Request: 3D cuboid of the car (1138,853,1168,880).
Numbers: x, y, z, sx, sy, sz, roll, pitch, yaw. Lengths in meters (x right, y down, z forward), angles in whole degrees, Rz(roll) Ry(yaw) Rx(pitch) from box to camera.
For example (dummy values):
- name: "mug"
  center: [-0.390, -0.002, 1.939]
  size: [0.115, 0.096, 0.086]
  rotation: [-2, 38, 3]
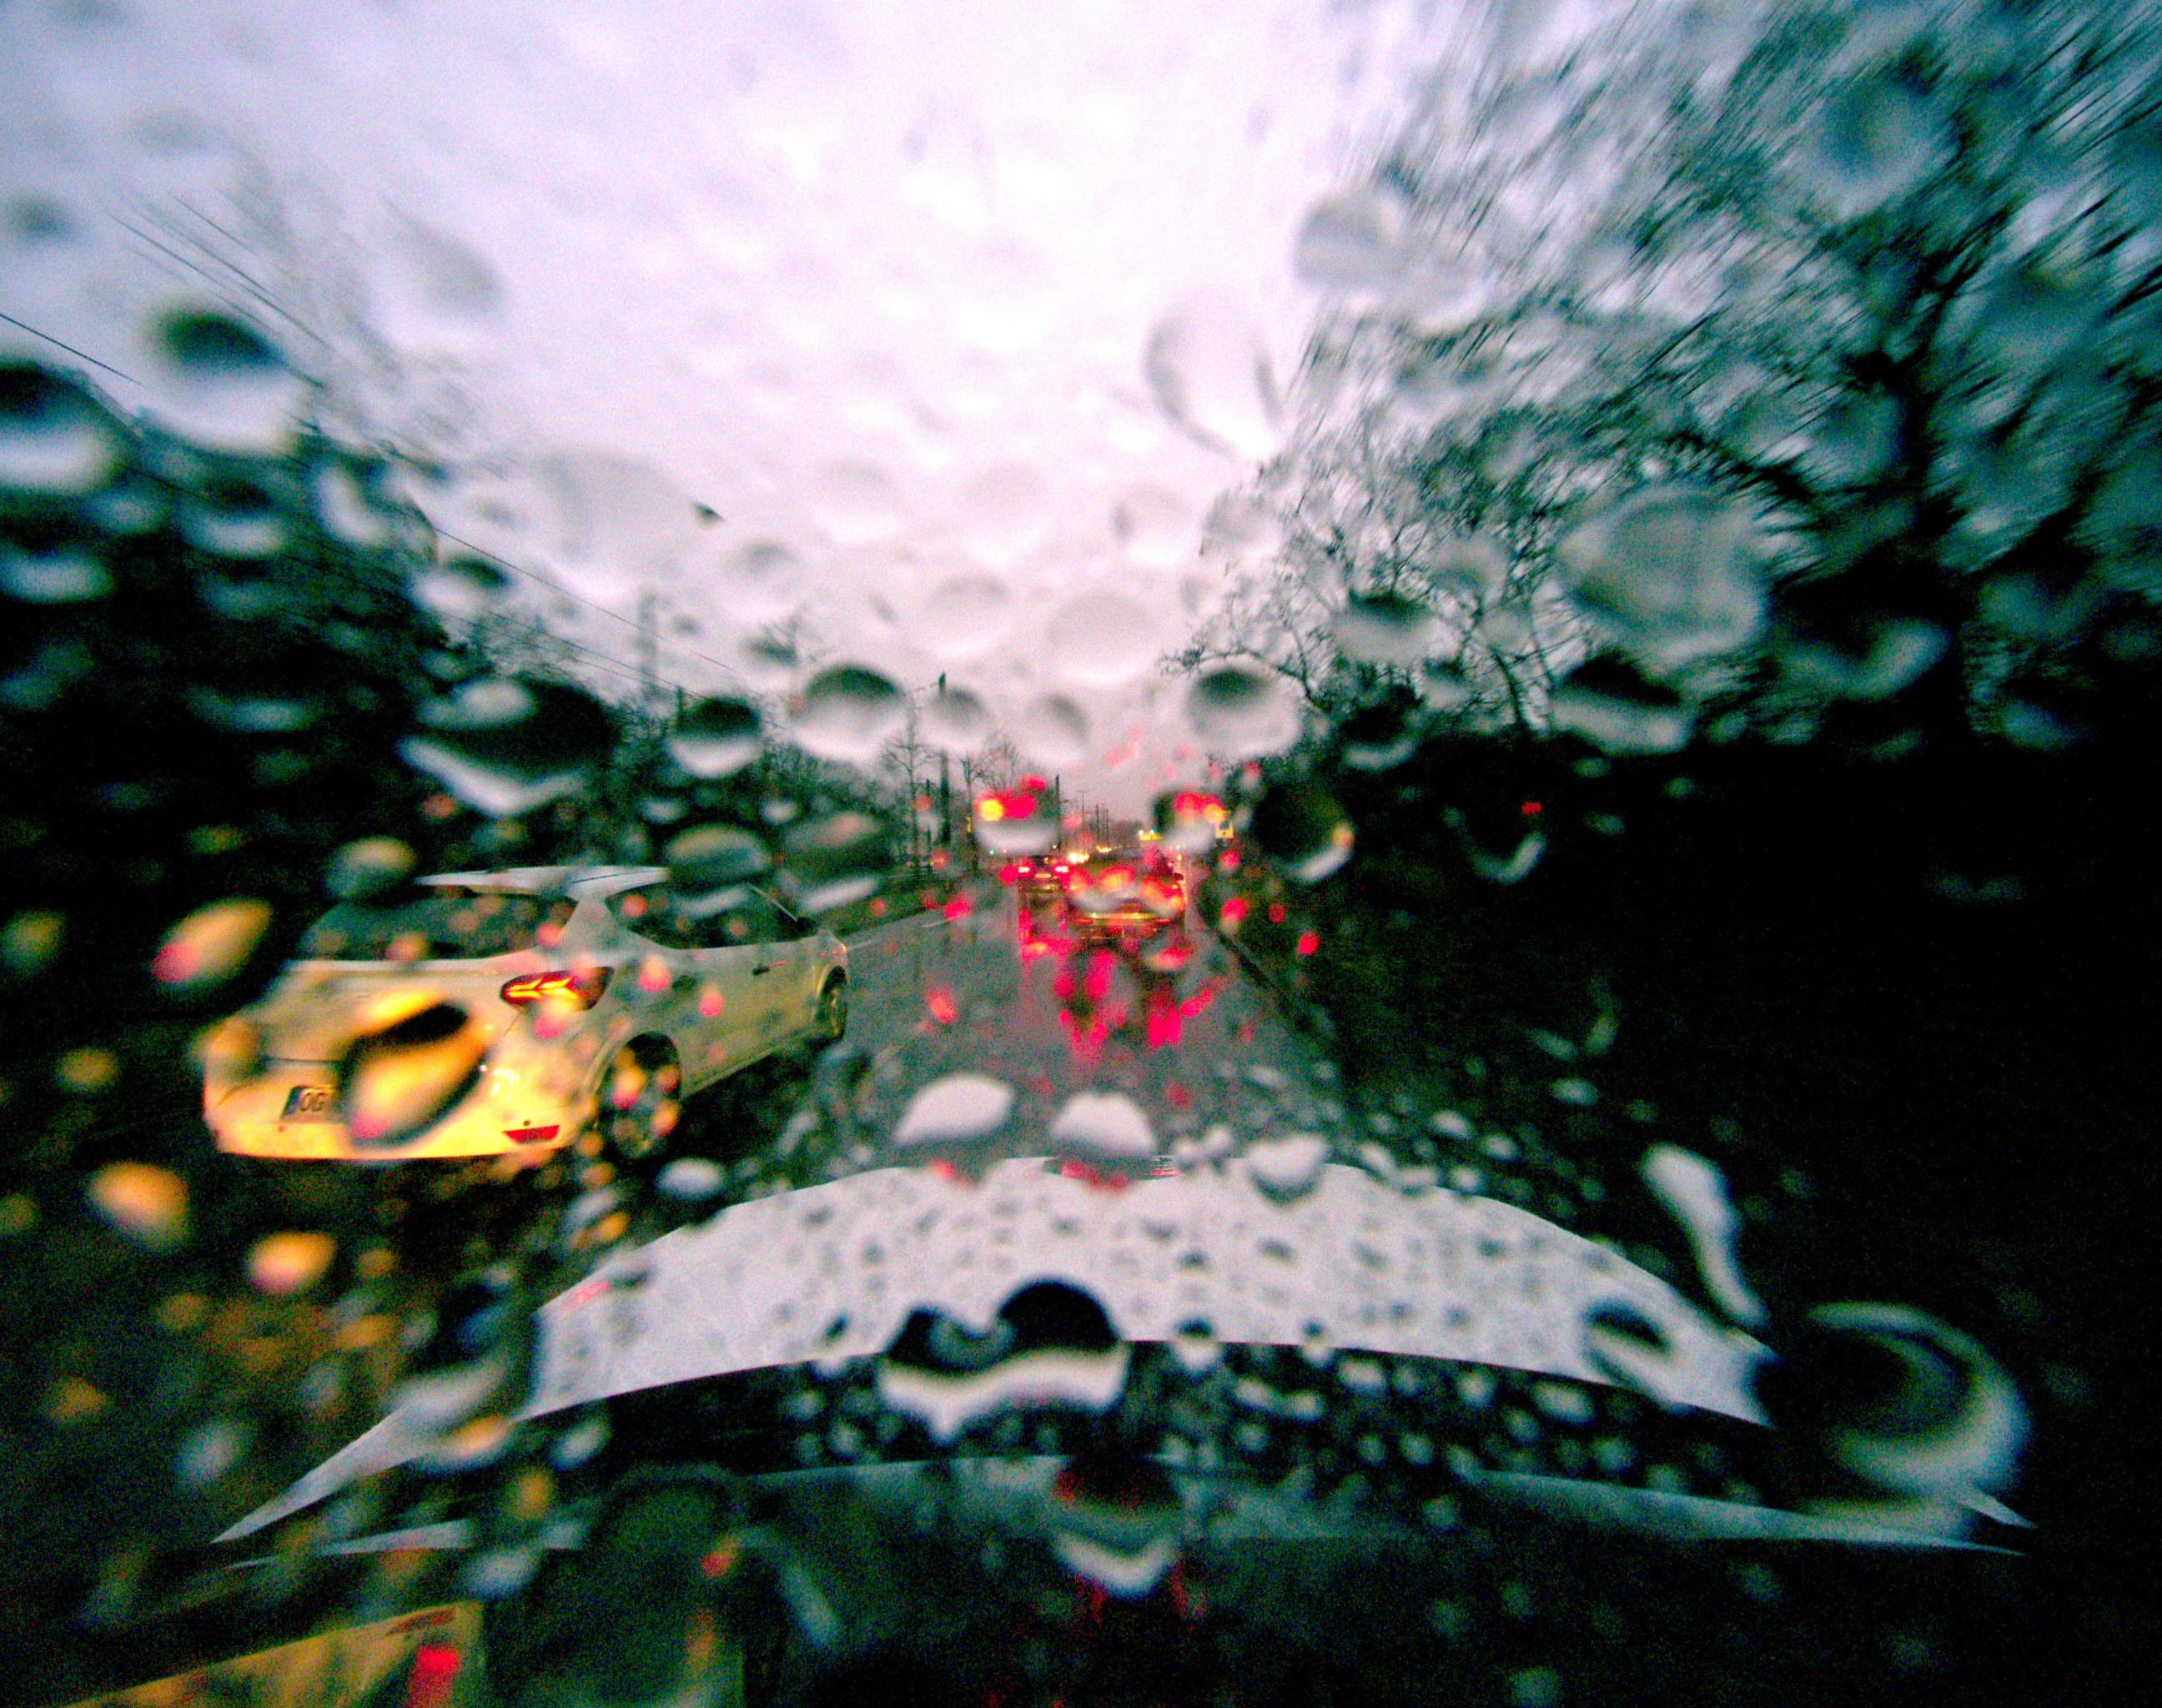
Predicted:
- name: "car"
  center: [4.353, 0.731, 49.866]
  size: [1.701, 1.558, 4.000]
  rotation: [-1, 0, 4]

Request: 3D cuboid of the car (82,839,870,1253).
- name: "car"
  center: [-2.832, 0.732, 5.133]
  size: [1.702, 1.525, 4.137]
  rotation: [-1, 0, 3]

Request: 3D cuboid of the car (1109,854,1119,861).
- name: "car"
  center: [7.762, 0.768, 189.554]
  size: [1.984, 1.666, 3.842]
  rotation: [-1, 0, 6]

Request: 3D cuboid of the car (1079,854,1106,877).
- name: "car"
  center: [0.829, 0.800, 58.179]
  size: [1.701, 1.558, 4.000]
  rotation: [-1, 0, 3]

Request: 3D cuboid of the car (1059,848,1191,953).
- name: "car"
  center: [0.792, 0.707, 14.431]
  size: [1.989, 1.584, 4.004]
  rotation: [-1, 0, 3]

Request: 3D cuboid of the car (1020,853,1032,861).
- name: "car"
  center: [-12.219, 0.633, 181.888]
  size: [1.984, 1.658, 4.006]
  rotation: [0, -1, 6]

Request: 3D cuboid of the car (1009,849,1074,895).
- name: "car"
  center: [-1.328, 0.595, 28.913]
  size: [1.872, 1.459, 4.003]
  rotation: [-2, 0, 2]
